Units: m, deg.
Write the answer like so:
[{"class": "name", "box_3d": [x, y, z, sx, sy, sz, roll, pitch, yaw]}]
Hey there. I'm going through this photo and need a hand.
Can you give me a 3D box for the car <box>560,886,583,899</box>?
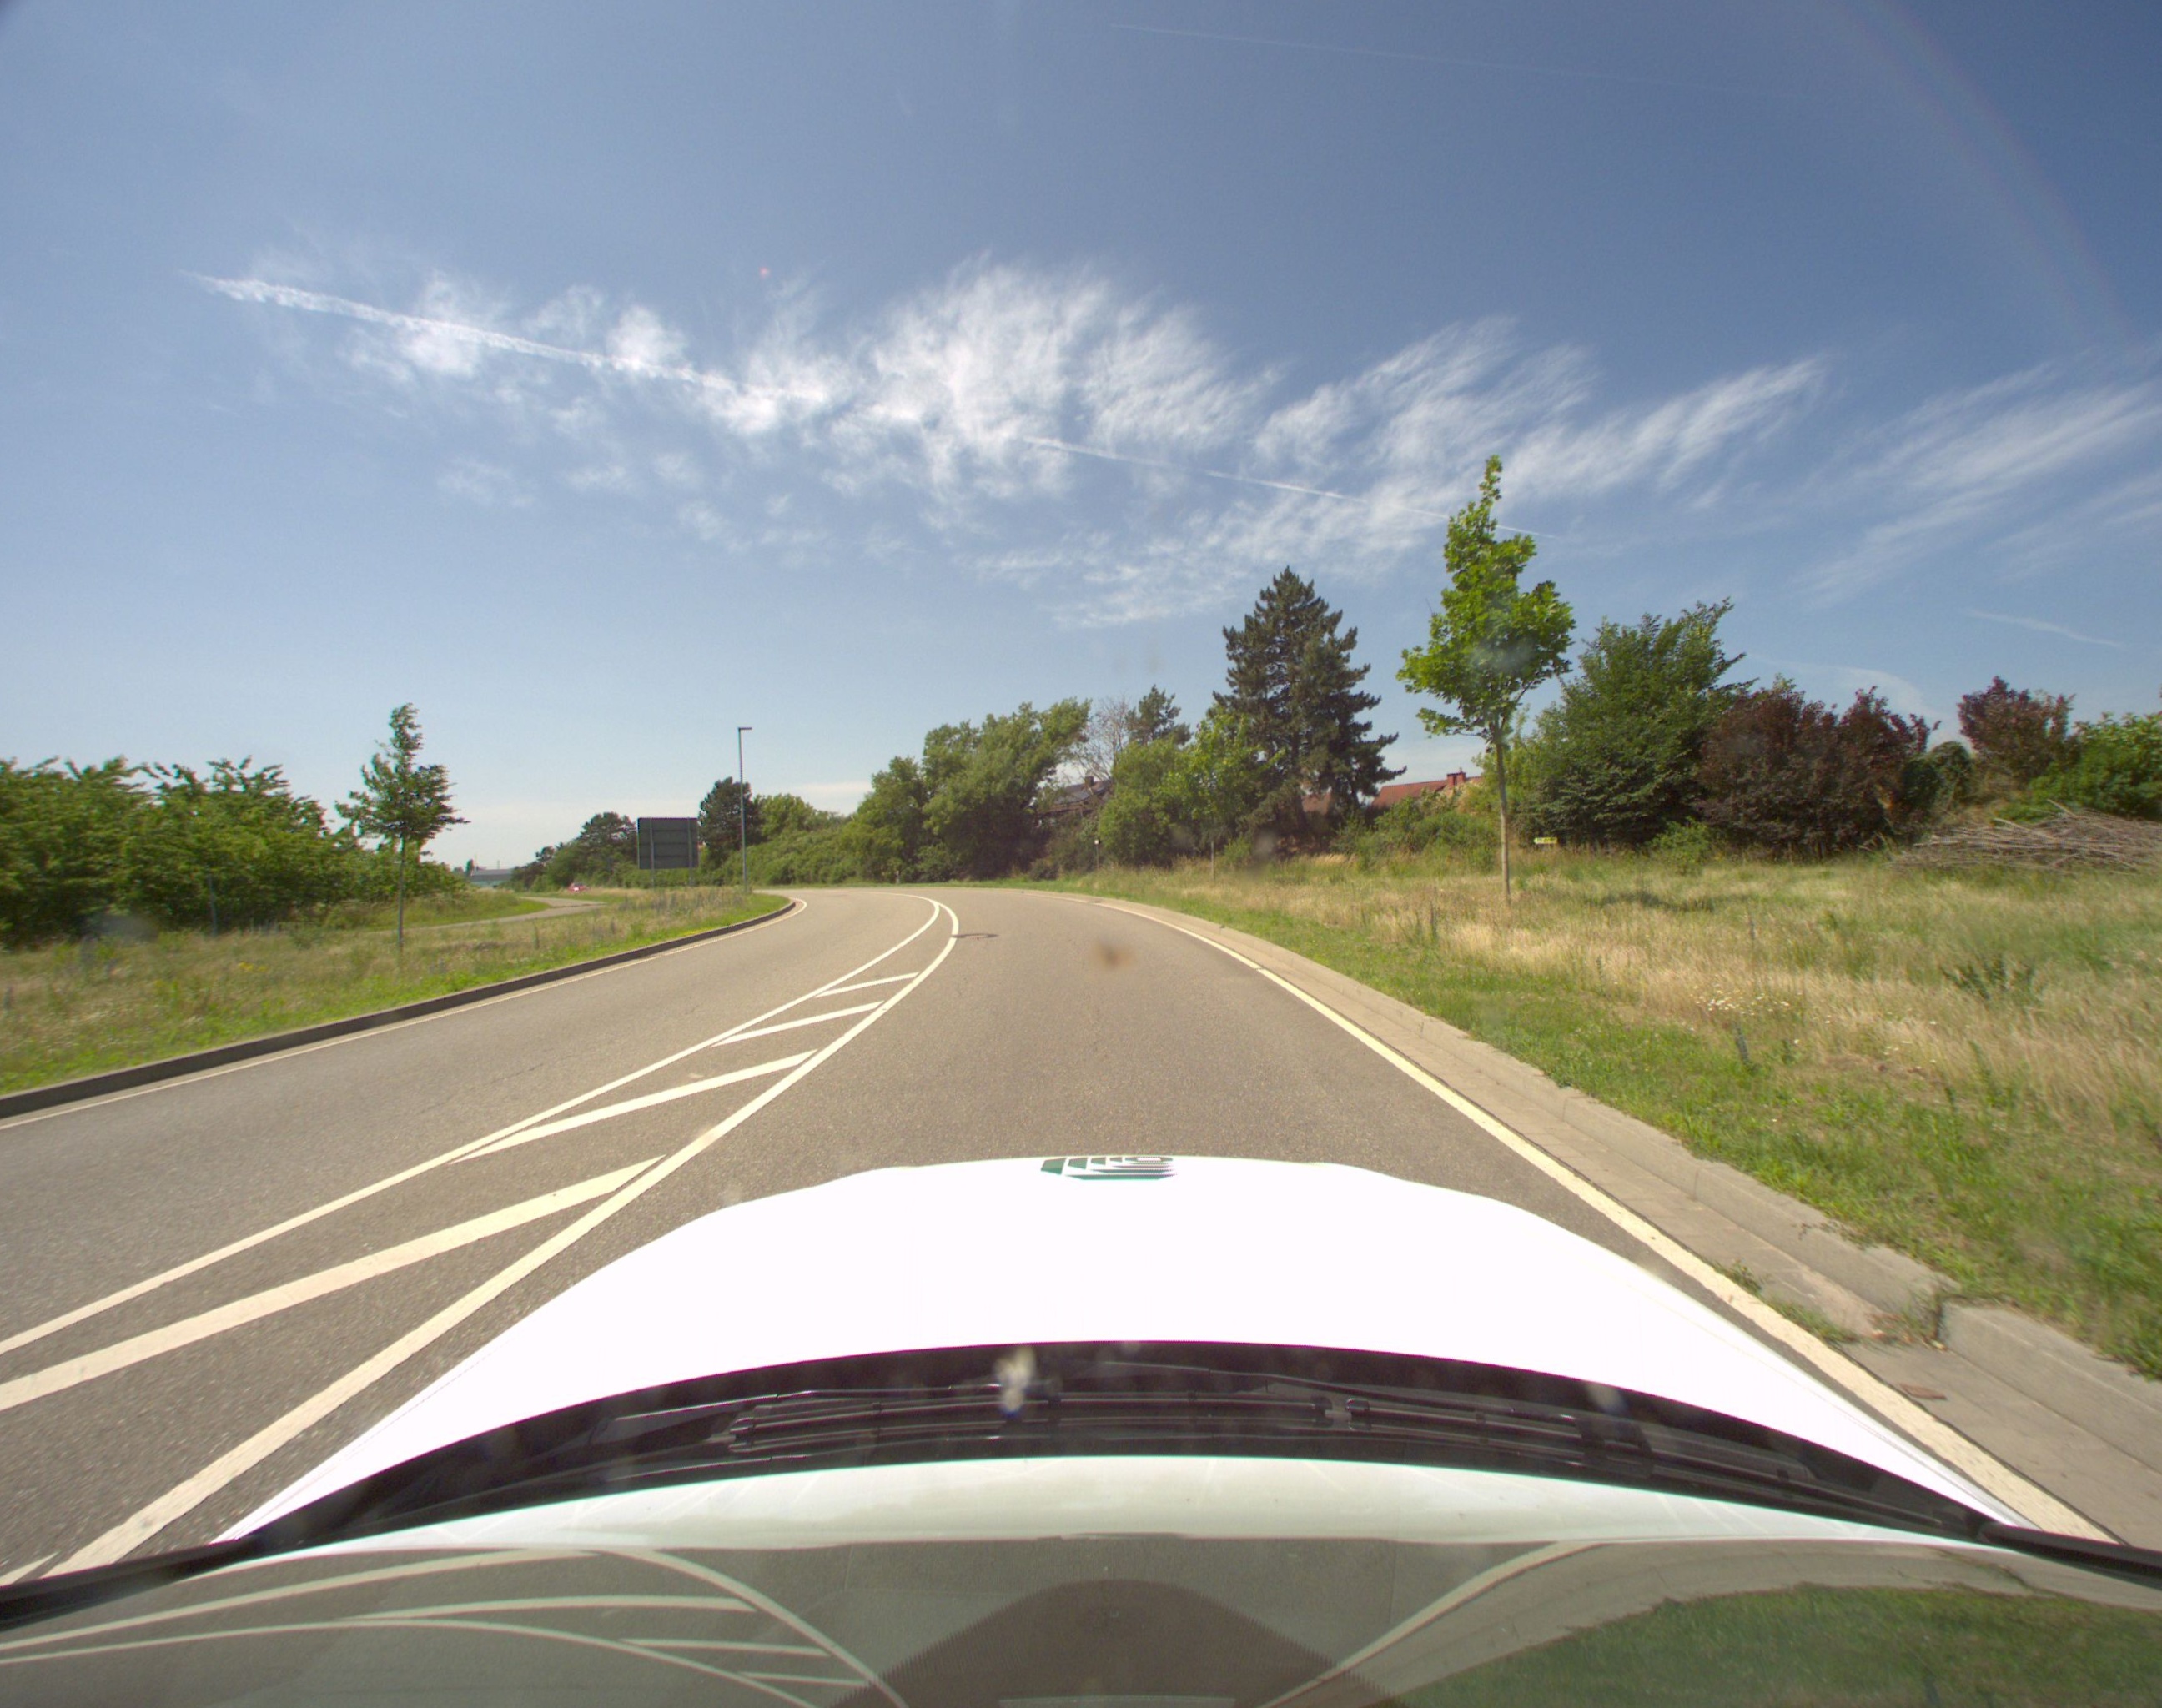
[{"class": "car", "box_3d": [-63.214, 4.796, 101.079, 1.670, 1.433, 3.690, -3, 0, -43]}]
